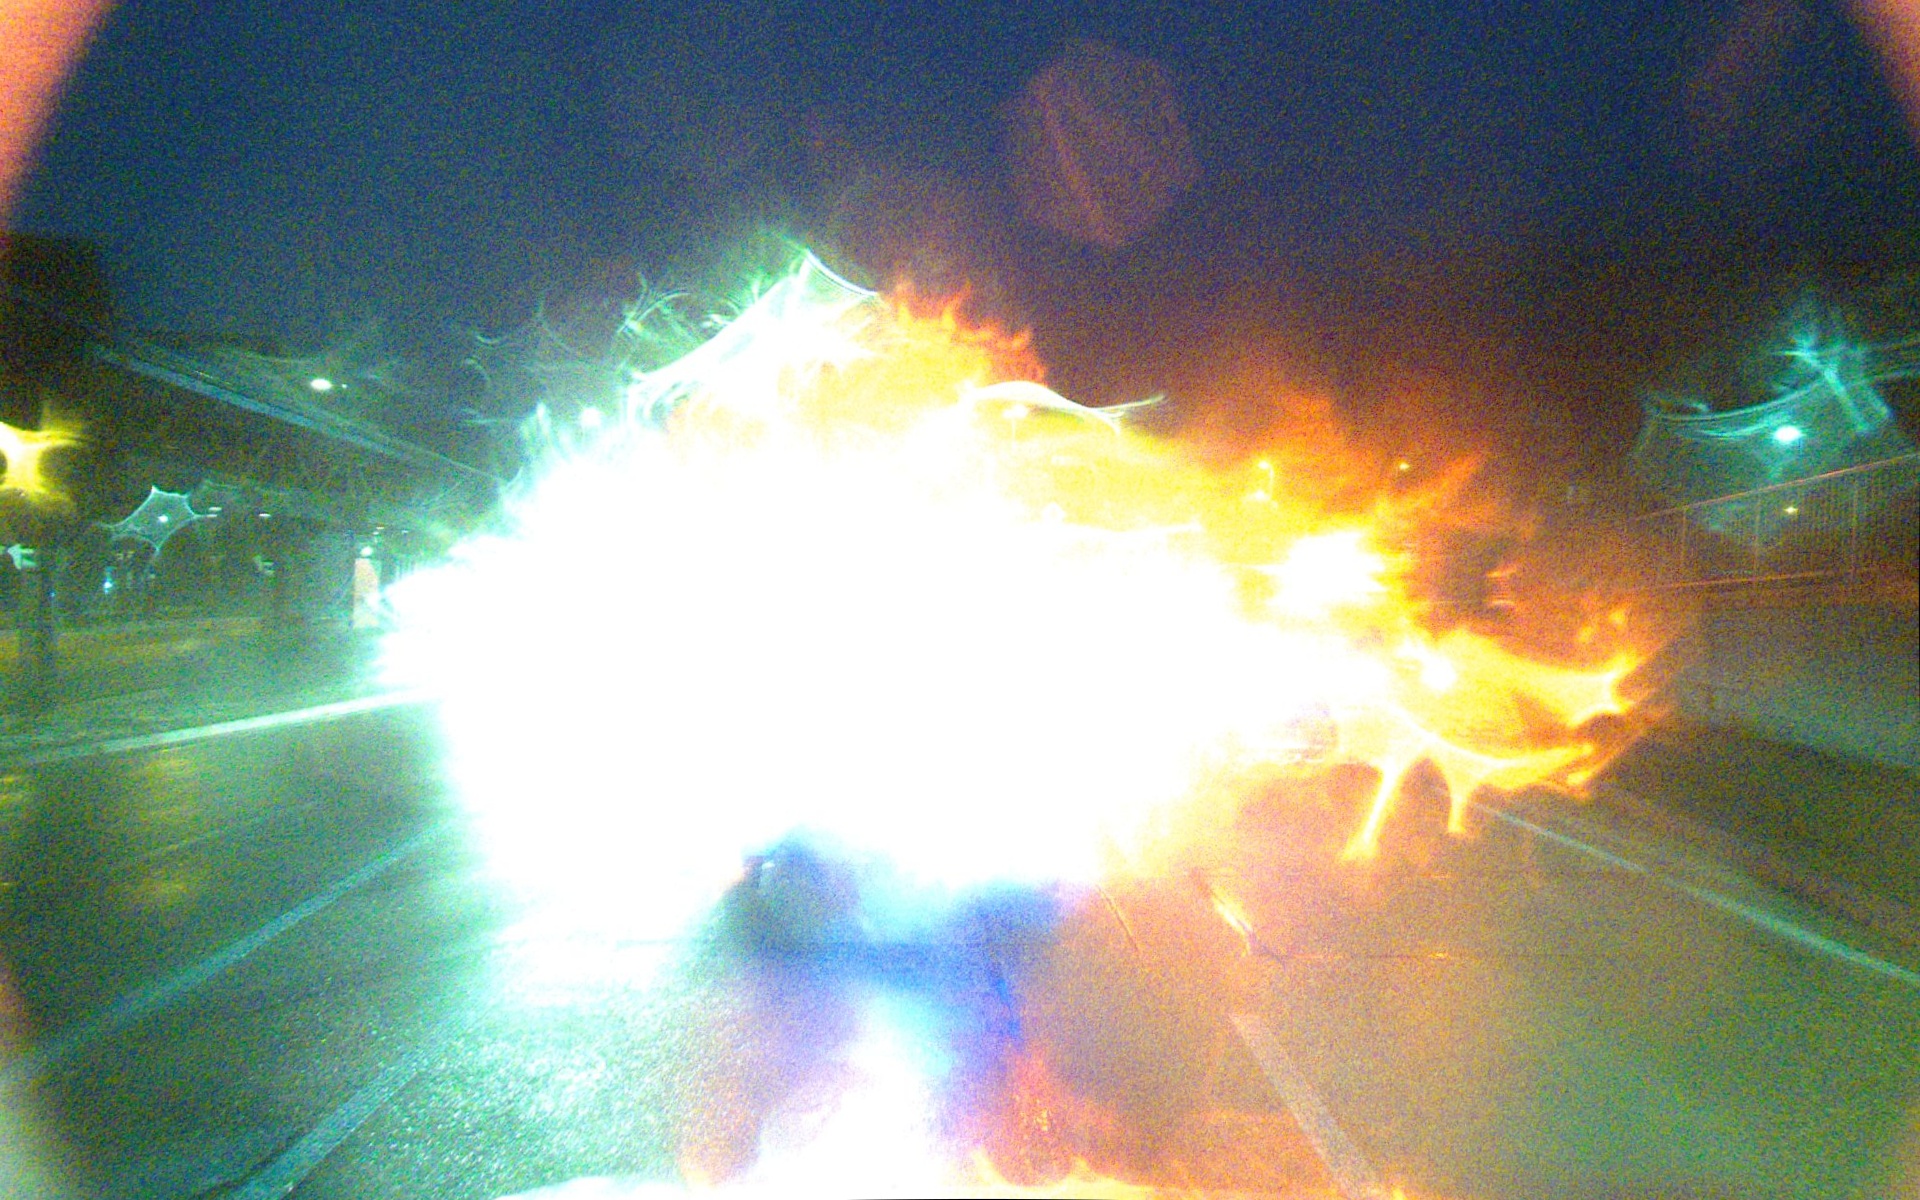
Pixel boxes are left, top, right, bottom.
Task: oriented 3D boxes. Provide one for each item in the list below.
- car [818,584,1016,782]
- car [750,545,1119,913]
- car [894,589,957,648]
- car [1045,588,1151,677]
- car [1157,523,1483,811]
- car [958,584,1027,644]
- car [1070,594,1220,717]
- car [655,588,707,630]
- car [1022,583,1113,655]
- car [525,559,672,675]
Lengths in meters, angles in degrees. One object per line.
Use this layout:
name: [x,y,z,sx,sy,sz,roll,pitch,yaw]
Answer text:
car: [-0.379,0.695,16.108,1.674,1.666,3.730,-1,1,0]
car: [-0.138,0.595,9.466,1.660,1.658,3.852,1,0,-1]
car: [-1.088,0.523,50.322,1.675,1.666,3.727,-1,1,-4]
car: [2.401,0.548,29.550,1.629,1.475,4.050,0,0,1]
car: [2.777,0.447,13.721,1.902,2.006,4.219,0,1,2]
car: [0.814,0.362,43.051,1.629,1.475,4.048,0,0,-1]
car: [2.420,0.677,22.495,1.731,1.475,4.220,0,1,2]
car: [-10.234,0.309,60.842,1.687,1.468,3.733,1,0,-7]
car: [2.294,0.377,36.021,1.629,1.475,4.049,0,1,-1]
car: [-6.517,0.275,30.314,1.954,1.945,4.739,0,0,-4]
